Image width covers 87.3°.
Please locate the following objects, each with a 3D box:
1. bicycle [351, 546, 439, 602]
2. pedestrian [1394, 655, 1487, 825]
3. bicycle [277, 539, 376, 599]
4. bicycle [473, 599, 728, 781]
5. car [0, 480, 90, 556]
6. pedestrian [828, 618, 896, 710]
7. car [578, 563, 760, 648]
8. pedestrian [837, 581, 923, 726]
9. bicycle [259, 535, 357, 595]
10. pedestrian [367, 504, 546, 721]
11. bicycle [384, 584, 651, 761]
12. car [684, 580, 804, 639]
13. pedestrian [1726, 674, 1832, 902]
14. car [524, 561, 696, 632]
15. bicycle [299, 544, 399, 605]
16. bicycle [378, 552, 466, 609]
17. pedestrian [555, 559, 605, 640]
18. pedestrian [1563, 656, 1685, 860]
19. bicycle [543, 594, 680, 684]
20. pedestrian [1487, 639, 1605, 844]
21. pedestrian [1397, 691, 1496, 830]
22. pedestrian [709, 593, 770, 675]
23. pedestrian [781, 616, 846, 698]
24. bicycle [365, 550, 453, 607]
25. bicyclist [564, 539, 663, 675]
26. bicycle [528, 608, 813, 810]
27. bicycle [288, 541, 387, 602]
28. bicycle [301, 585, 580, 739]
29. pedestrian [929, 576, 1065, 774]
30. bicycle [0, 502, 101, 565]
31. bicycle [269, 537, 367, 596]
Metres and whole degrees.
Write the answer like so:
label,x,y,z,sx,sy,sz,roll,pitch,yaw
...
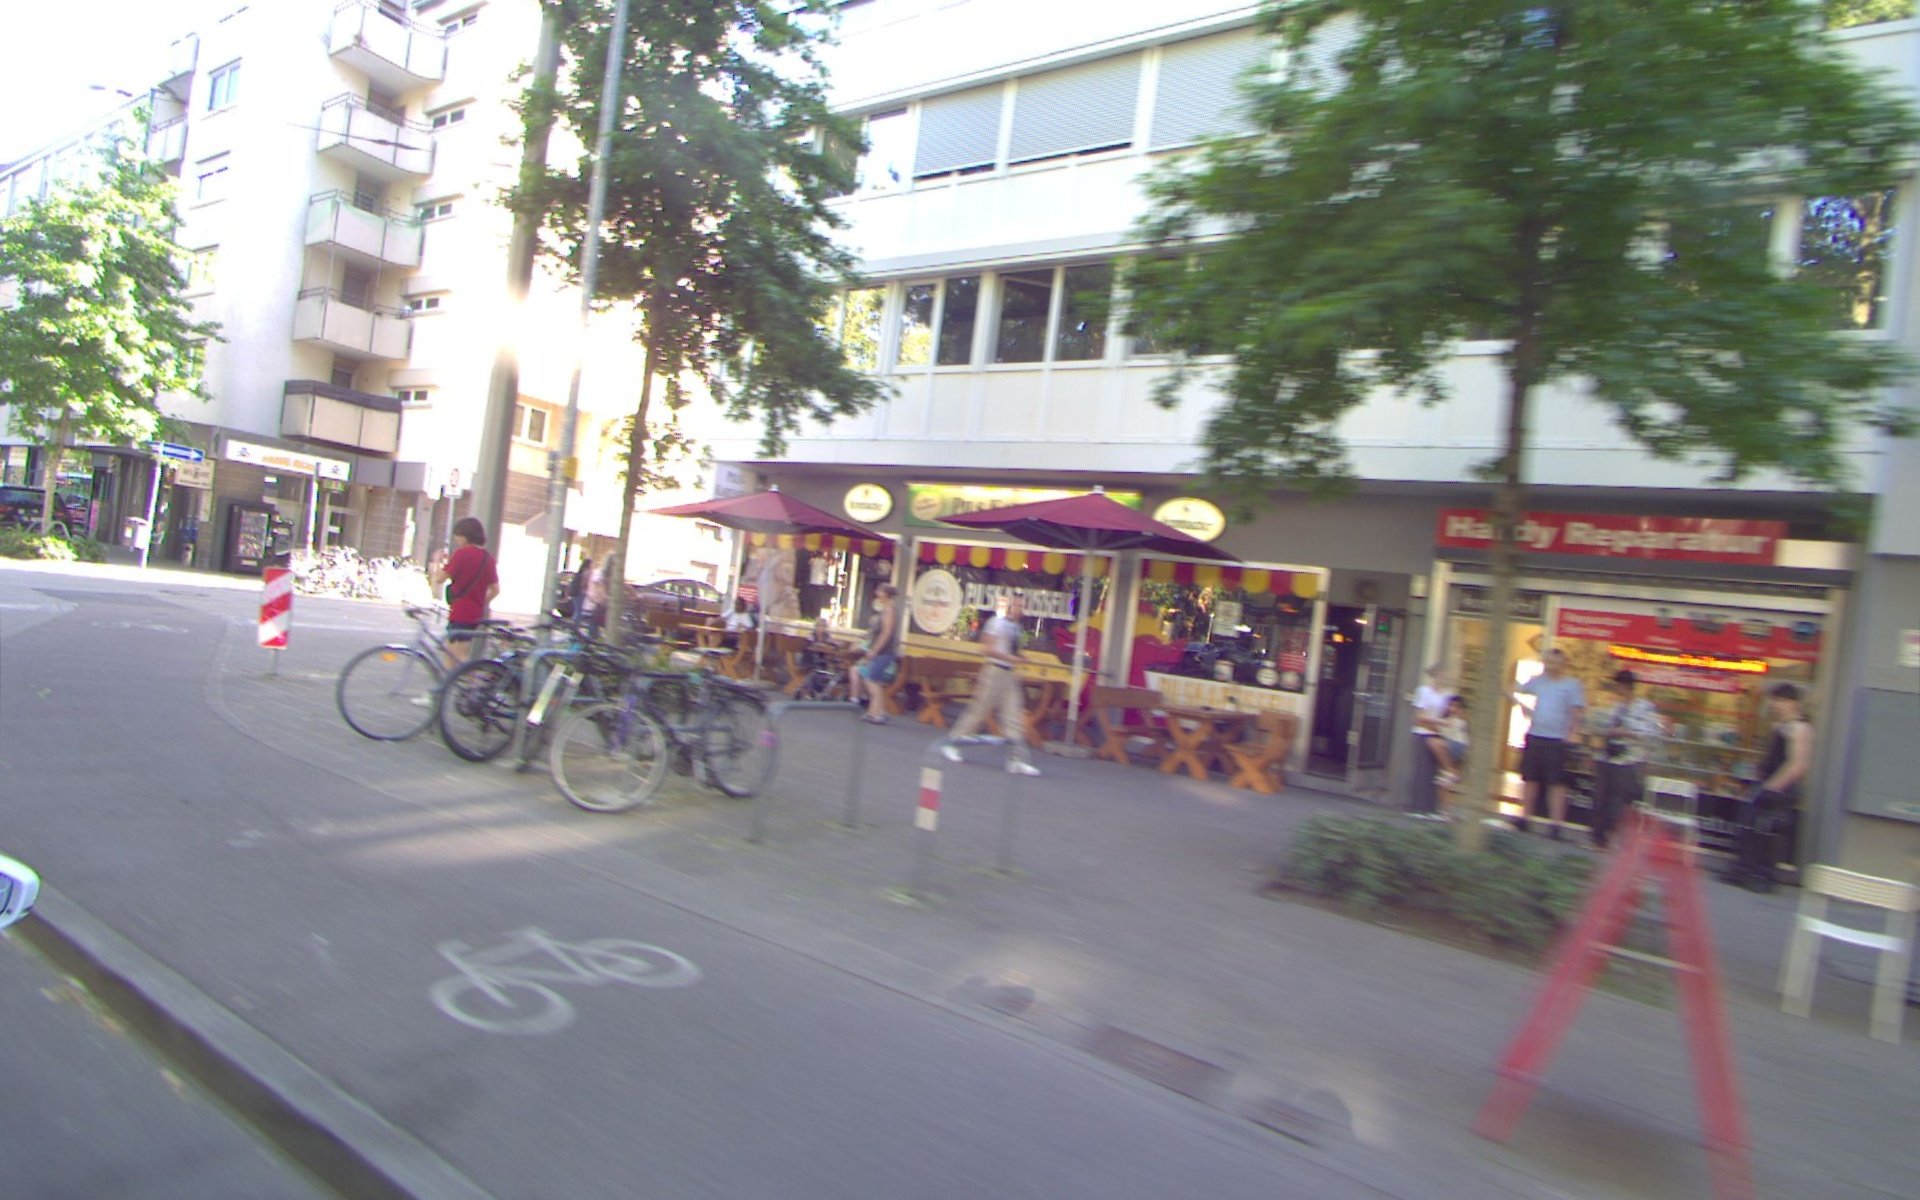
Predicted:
label,x,y,z,sx,sy,sz,roll,pitch,yaw
bicycle,-14.975,-0.661,26.716,0.502,1.221,1.919,6,-2,30
pedestrian,4.938,1.420,10.357,0.509,1.647,0.507,7,-1,-4
bicycle,-15.387,-0.734,24.476,0.502,1.222,1.917,8,0,30
bicycle,-2.521,0.657,7.303,0.473,1.113,1.821,7,-2,26
car,-24.623,-2.206,26.067,4.374,1.635,1.995,6,-1,34
pedestrian,-1.359,0.895,14.008,0.513,1.189,0.660,7,-1,32
car,-7.286,0.202,25.645,1.933,1.610,4.261,6,-3,28
pedestrian,-1.011,0.659,12.608,0.801,1.678,0.678,8,-1,-11
bicycle,-16.245,-0.852,25.131,0.502,1.221,1.919,7,-2,30
pedestrian,-4.519,0.115,9.035,1.032,1.778,0.876,7,-1,36
bicycle,-3.189,0.556,7.463,0.489,1.113,1.821,7,-2,26
car,-7.484,0.369,35.168,1.679,1.526,3.995,7,-2,32
pedestrian,6.945,1.571,8.550,0.481,1.817,0.432,7,-1,33
car,-10.486,-0.054,30.478,1.841,1.495,4.589,10,0,34
bicycle,-14.505,-0.593,23.928,0.502,1.222,1.917,8,0,30
bicycle,-13.911,-0.477,26.075,0.502,1.222,1.918,9,-1,30
pedestrian,-7.884,-0.013,20.882,0.635,1.579,0.551,5,-2,38
pedestrian,6.366,1.488,9.668,0.518,1.826,0.630,8,-1,-13
bicycle,-4.828,0.521,13.861,1.991,0.974,0.677,6,-2,36
pedestrian,6.089,1.447,10.465,0.782,1.977,0.505,6,-1,43
pedestrian,5.002,1.636,10.359,0.615,1.291,0.509,7,-1,-3
pedestrian,-3.761,0.579,17.152,0.704,1.302,0.536,7,-1,35
pedestrian,-2.115,0.831,14.572,0.513,1.091,0.643,7,-1,32
bicycle,-14.425,-0.554,26.378,0.502,1.221,1.919,7,-2,30
bicyclist,-4.772,0.095,13.864,0.950,1.737,0.677,7,-1,36
bicycle,-1.833,0.706,6.669,0.517,1.113,1.817,7,-1,33
bicycle,-14.945,-0.663,24.201,0.502,1.222,1.917,8,0,30
bicycle,-3.888,0.514,7.705,0.473,1.005,1.819,7,-2,31
pedestrian,0.370,0.735,10.024,0.979,1.805,0.591,7,-1,32
bicycle,-22.120,-1.619,24.127,0.672,1.201,2.125,6,-2,42
bicycle,-15.810,-0.800,24.821,0.502,1.222,1.917,8,0,30
